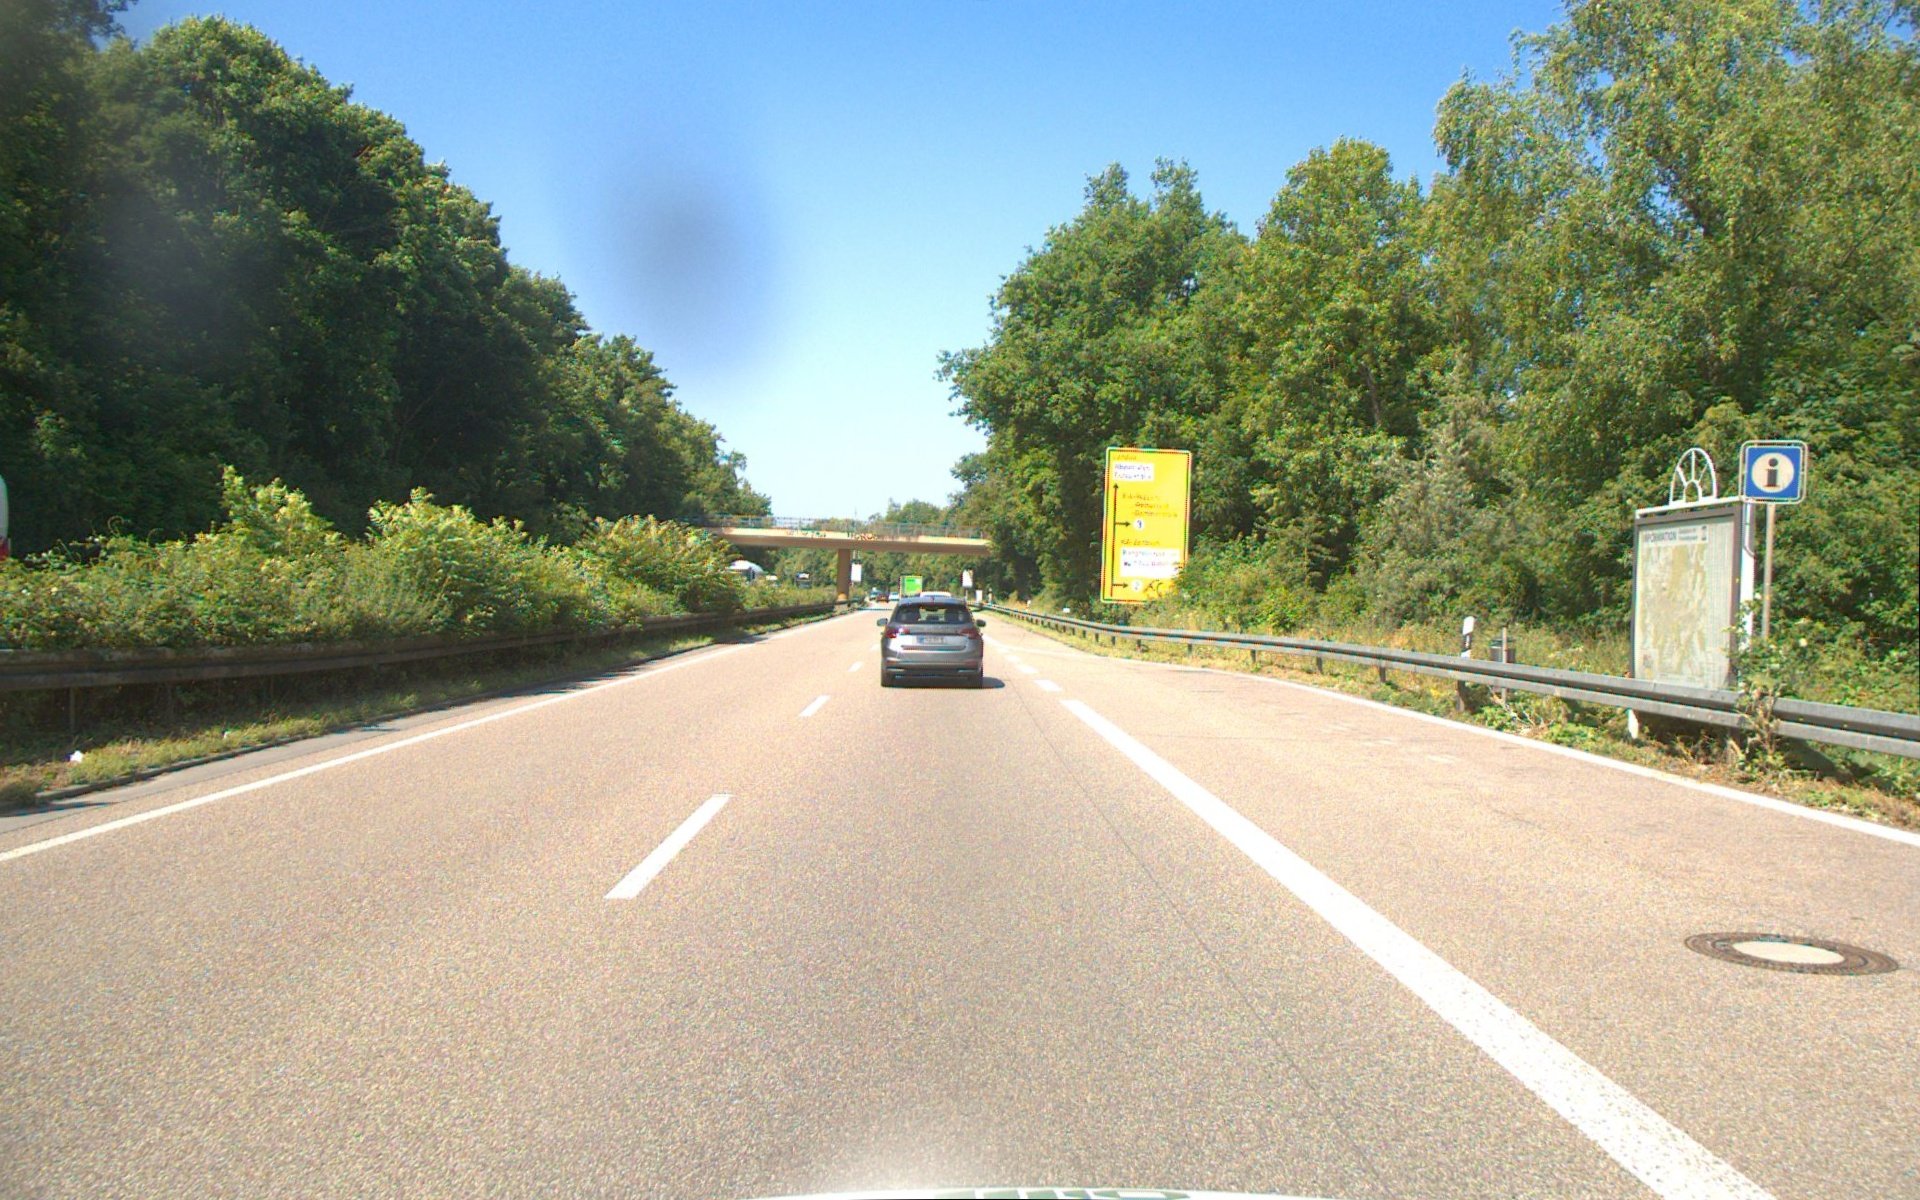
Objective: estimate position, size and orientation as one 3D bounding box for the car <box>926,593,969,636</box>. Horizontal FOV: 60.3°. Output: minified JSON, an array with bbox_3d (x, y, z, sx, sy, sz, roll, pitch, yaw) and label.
[{"bbox_3d":[-0.440,0.507,60.373,1.491,1.472,3.340,1,1,1],"label":"car"}]

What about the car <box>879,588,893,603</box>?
[{"bbox_3d":[-10.681,-0.630,238.842,1.953,2.049,3.999,1,0,-1],"label":"car"}]

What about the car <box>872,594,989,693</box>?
[{"bbox_3d":[-0.441,0.676,27.712,1.802,1.497,3.624,1,1,0],"label":"car"}]

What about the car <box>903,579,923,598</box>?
[{"bbox_3d":[-6.809,-1.724,239.705,2.693,2.700,3.999,1,0,-1],"label":"car"}]

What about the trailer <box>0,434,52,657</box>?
[{"bbox_3d":[-15.301,-0.800,18.527,2.442,3.292,14.429,1,0,-1],"label":"trailer"}]

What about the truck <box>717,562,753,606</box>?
[{"bbox_3d":[-17.797,-1.261,130.929,2.291,3.400,4.541,1,0,-1],"label":"truck"}]

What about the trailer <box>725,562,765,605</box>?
[{"bbox_3d":[-17.855,-1.327,137.679,1.953,3.461,11.417,1,0,-1],"label":"trailer"}]
